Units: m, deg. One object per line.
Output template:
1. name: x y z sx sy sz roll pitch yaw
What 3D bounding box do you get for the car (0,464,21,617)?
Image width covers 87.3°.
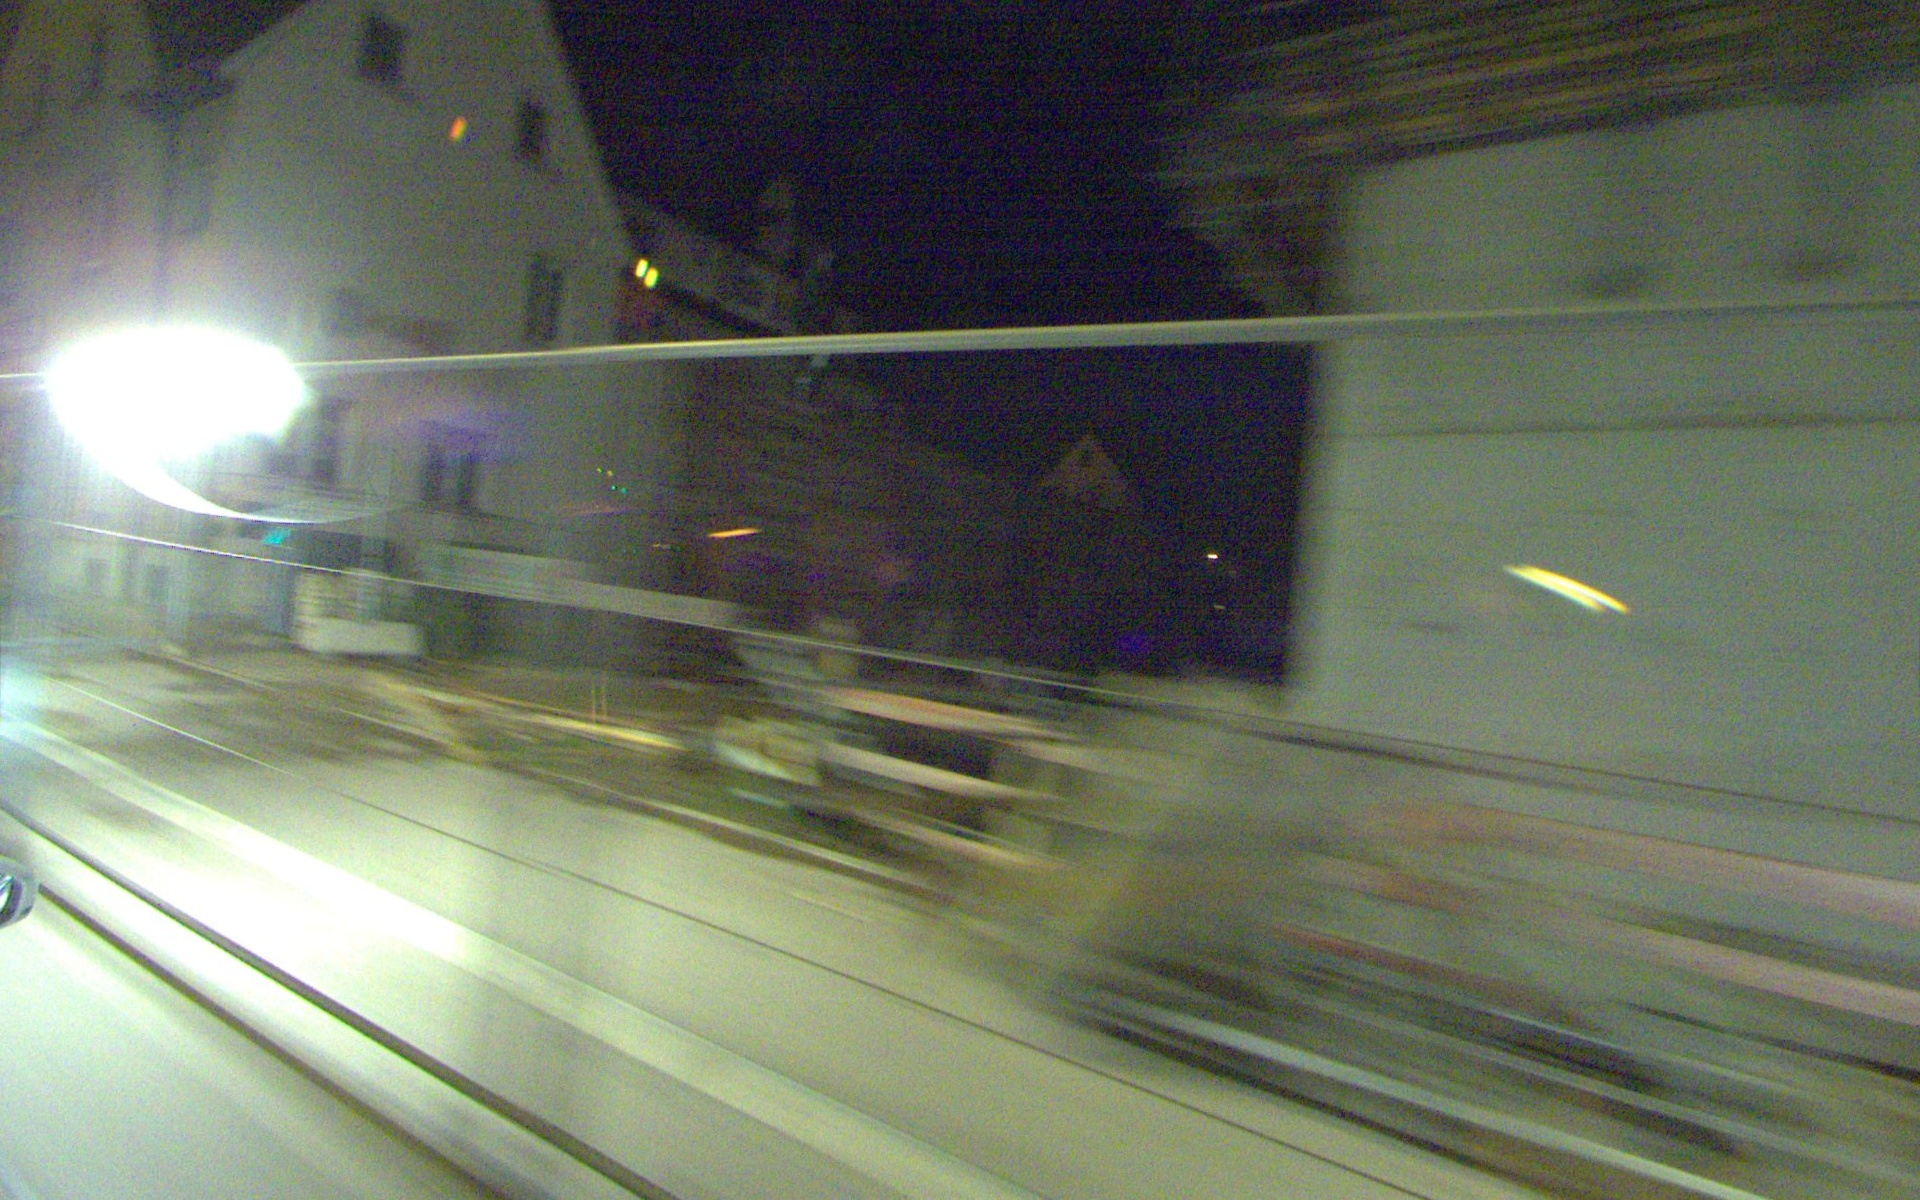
1. car: -14.161 -1.010 12.686 4.817 1.849 1.914 6 -1 29
